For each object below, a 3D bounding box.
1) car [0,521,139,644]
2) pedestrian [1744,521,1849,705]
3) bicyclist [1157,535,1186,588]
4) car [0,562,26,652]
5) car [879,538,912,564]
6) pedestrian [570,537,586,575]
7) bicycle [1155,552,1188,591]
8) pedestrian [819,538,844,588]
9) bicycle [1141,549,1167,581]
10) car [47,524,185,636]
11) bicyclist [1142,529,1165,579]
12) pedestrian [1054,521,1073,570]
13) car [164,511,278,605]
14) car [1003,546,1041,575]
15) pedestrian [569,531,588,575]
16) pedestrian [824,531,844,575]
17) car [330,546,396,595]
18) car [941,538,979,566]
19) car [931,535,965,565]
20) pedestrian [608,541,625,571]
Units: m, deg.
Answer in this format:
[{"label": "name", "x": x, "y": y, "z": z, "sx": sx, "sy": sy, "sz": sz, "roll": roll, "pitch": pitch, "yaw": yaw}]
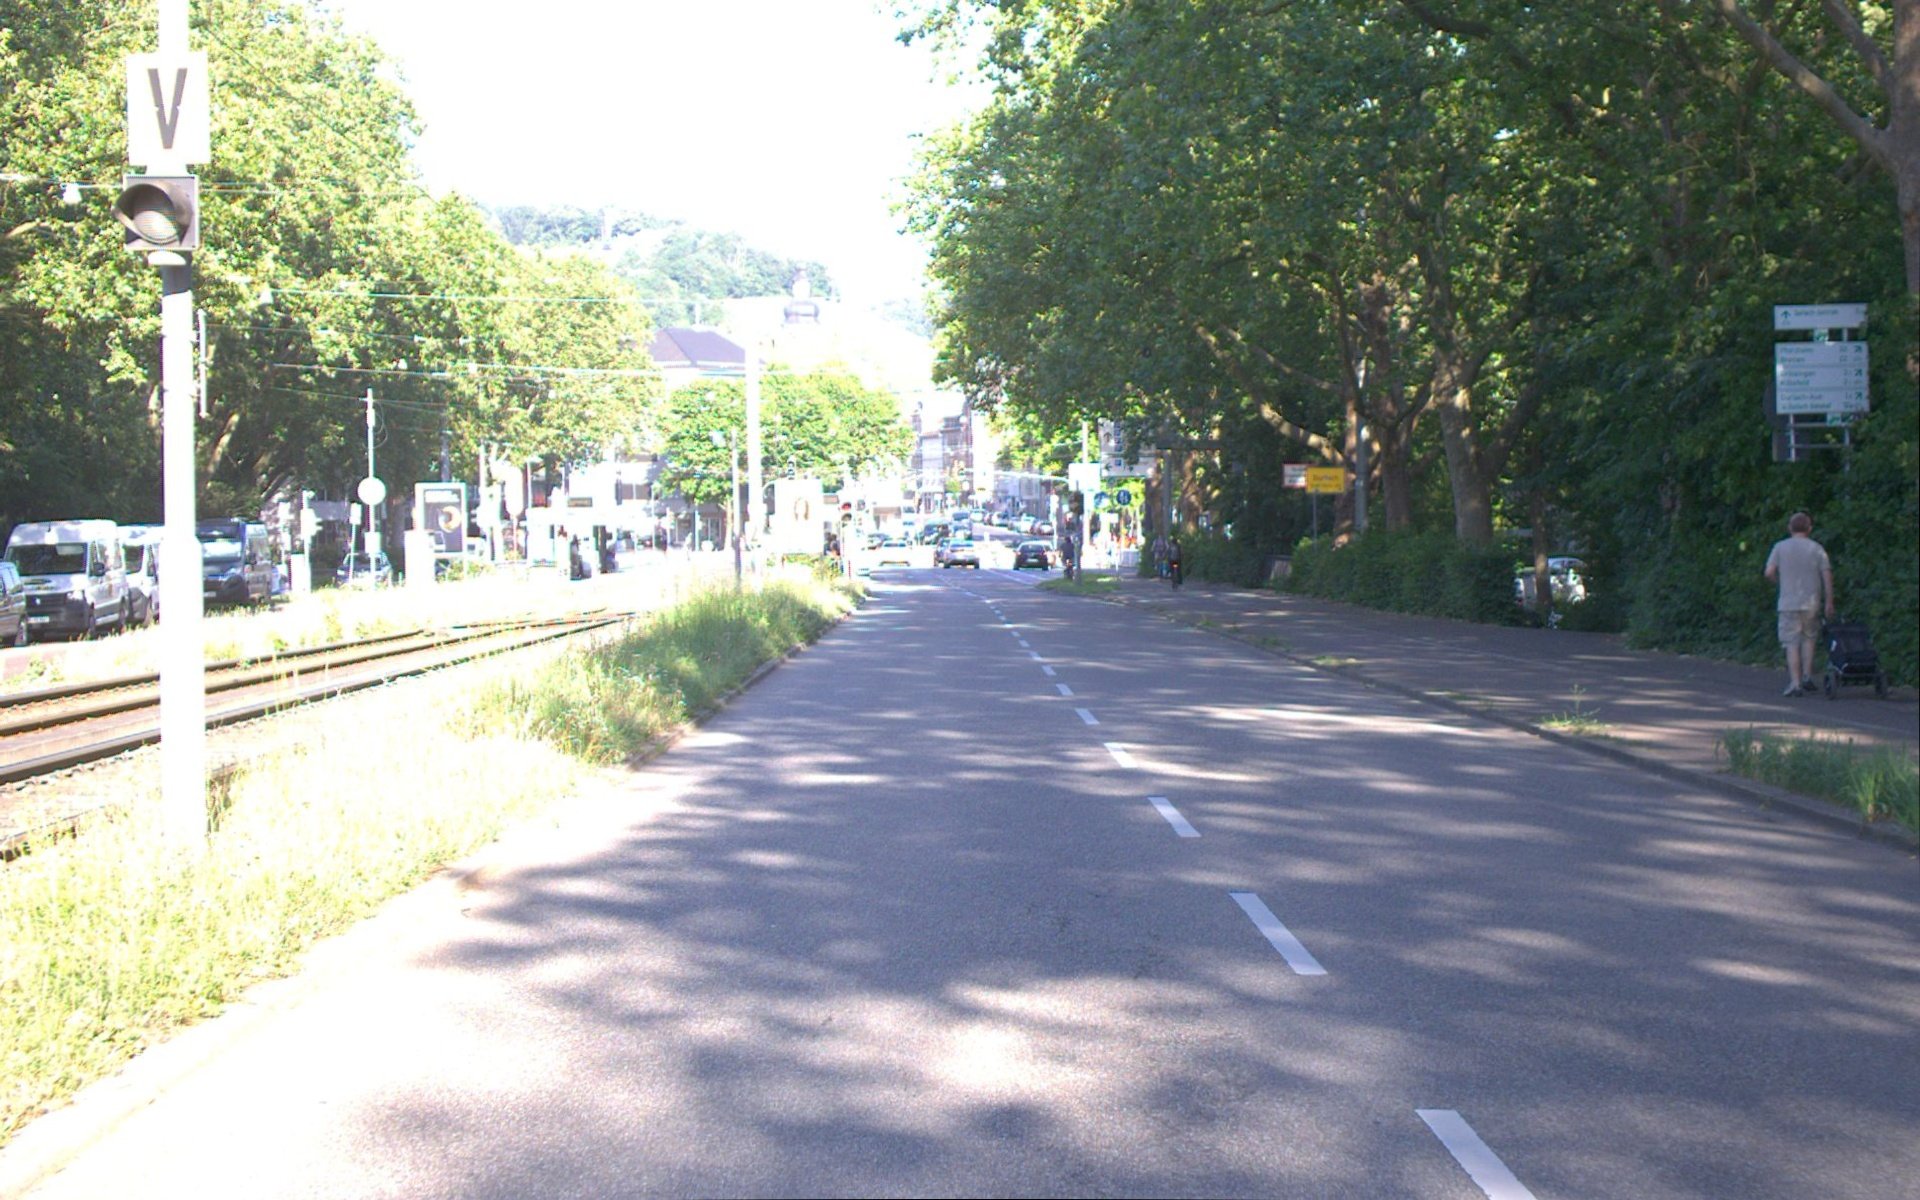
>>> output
[{"label": "car", "x": -19.606, "y": -0.391, "z": 75.047, "sx": 2.183, "sy": 2.512, "sz": 6.051, "roll": -2, "pitch": 1, "yaw": -4}, {"label": "pedestrian", "x": 7.648, "y": 0.110, "z": 31.459, "sx": 0.648, "sy": 1.630, "sz": 0.928, "roll": -3, "pitch": 1, "yaw": 0}, {"label": "bicyclist", "x": 6.098, "y": -1.116, "z": 99.282, "sx": 0.766, "sy": 1.507, "sz": 0.650, "roll": 0, "pitch": 1, "yaw": -2}, {"label": "car", "x": -19.429, "y": 0.166, "z": 66.655, "sx": 1.738, "sy": 1.722, "sz": 3.883, "roll": -2, "pitch": 1, "yaw": -4}, {"label": "car", "x": -3.644, "y": -2.755, "z": 193.794, "sx": 1.808, "sy": 1.447, "sz": 4.001, "roll": 0, "pitch": 1, "yaw": -2}, {"label": "pedestrian", "x": -15.591, "y": -1.800, "z": 140.229, "sx": 0.593, "sy": 1.538, "sz": 0.627, "roll": 1, "pitch": 0, "yaw": -1}, {"label": "bicycle", "x": 6.103, "y": -0.828, "z": 99.283, "sx": 0.766, "sy": 1.104, "sz": 1.800, "roll": 0, "pitch": 1, "yaw": -2}, {"label": "pedestrian", "x": -4.130, "y": -1.191, "z": 110.450, "sx": 0.520, "sy": 1.563, "sz": 0.507, "roll": -2, "pitch": 1, "yaw": 29}, {"label": "bicycle", "x": 6.753, "y": -1.220, "z": 119.919, "sx": 0.699, "sy": 1.104, "sz": 1.930, "roll": -1, "pitch": 1, "yaw": -3}, {"label": "car", "x": -20.295, "y": -0.495, "z": 82.971, "sx": 2.183, "sy": 2.512, "sz": 6.273, "roll": -2, "pitch": 1, "yaw": -5}, {"label": "bicyclist", "x": 6.752, "y": -1.605, "z": 119.915, "sx": 0.699, "sy": 1.722, "sz": 1.080, "roll": -1, "pitch": 1, "yaw": -3}, {"label": "pedestrian", "x": 3.963, "y": -2.085, "z": 131.538, "sx": 0.657, "sy": 1.864, "sz": 0.678, "roll": 0, "pitch": 1, "yaw": -2}, {"label": "car", "x": -20.998, "y": -1.176, "z": 97.906, "sx": 2.183, "sy": 2.512, "sz": 6.033, "roll": -2, "pitch": 1, "yaw": -3}, {"label": "car", "x": 3.228, "y": -2.054, "z": 179.815, "sx": 1.800, "sy": 1.434, "sz": 4.046, "roll": 1, "pitch": 1, "yaw": -2}, {"label": "pedestrian", "x": -15.631, "y": -1.918, "z": 140.899, "sx": 0.648, "sy": 1.766, "sz": 0.650, "roll": 1, "pitch": 0, "yaw": 1}, {"label": "pedestrian", "x": -4.911, "y": -1.838, "z": 133.944, "sx": 0.742, "sy": 1.688, "sz": 0.791, "roll": 1, "pitch": 1, "yaw": -1}, {"label": "car", "x": -20.971, "y": -1.039, "z": 120.878, "sx": 1.902, "sy": 1.646, "sz": 3.973, "roll": -2, "pitch": 1, "yaw": -5}, {"label": "car", "x": -0.017, "y": -2.575, "z": 184.661, "sx": 1.929, "sy": 1.467, "sz": 4.855, "roll": 0, "pitch": 1, "yaw": -2}, {"label": "car", "x": -0.683, "y": -2.810, "z": 191.998, "sx": 1.800, "sy": 1.632, "sz": 4.046, "roll": 0, "pitch": 1, "yaw": -2}, {"label": "pedestrian", "x": -15.661, "y": -1.995, "z": 156.759, "sx": 0.669, "sy": 1.320, "sz": 0.757, "roll": -3, "pitch": 1, "yaw": -3}]
